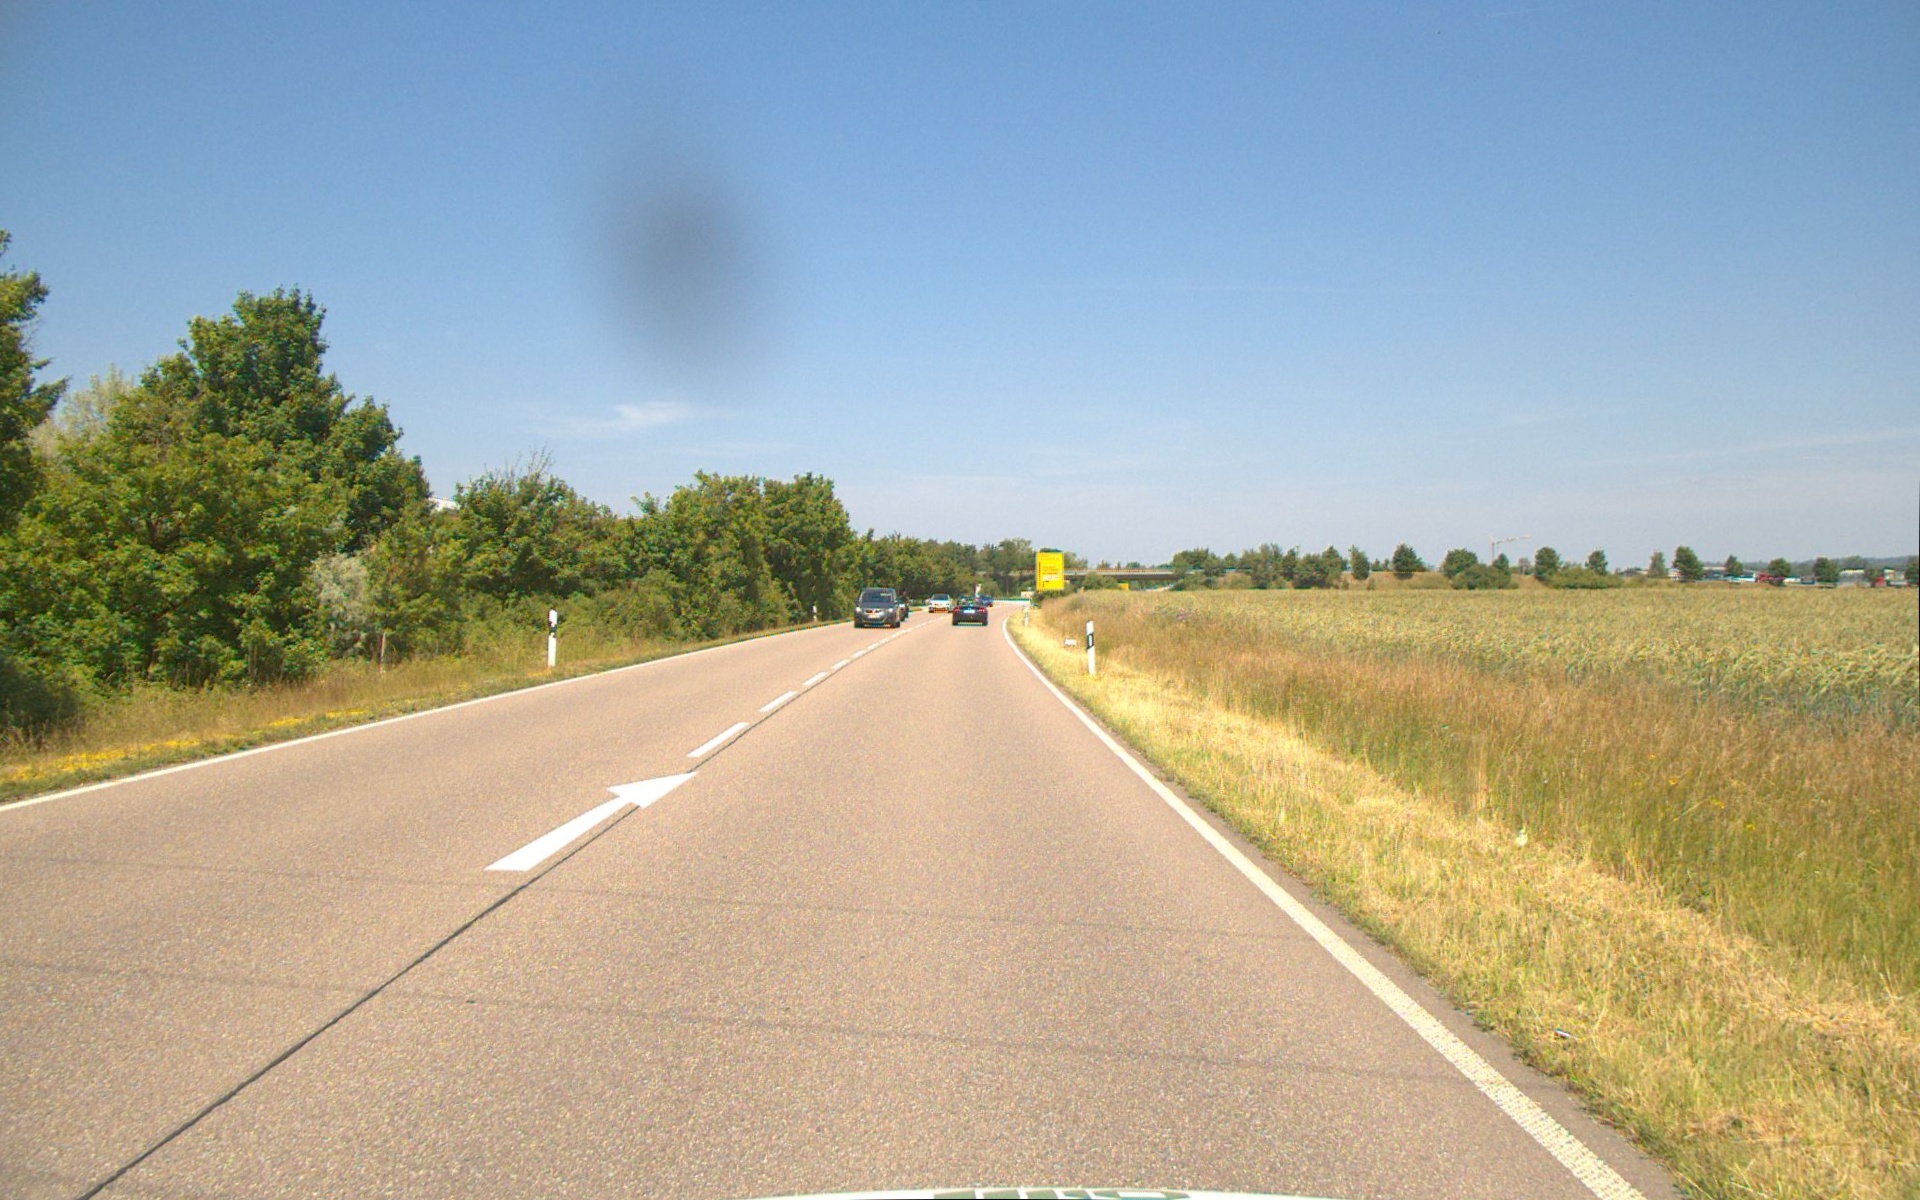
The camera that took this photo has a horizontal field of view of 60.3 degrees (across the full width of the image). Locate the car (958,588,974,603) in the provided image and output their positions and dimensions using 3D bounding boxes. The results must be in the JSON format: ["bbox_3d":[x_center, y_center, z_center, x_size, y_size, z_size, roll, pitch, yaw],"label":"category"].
[{"bbox_3d":[0.638,-0.433,168.543,1.564,1.467,4.001,1,0,1],"label":"car"}]

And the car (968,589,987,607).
[{"bbox_3d":[2.005,-0.238,190.330,1.952,2.049,4.001,1,0,3],"label":"car"}]

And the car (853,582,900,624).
[{"bbox_3d":[-3.634,0.111,72.418,1.781,1.731,5.001,0,0,0],"label":"car"}]

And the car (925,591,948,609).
[{"bbox_3d":[-1.802,-0.002,130.076,1.672,1.405,3.820,1,0,1],"label":"car"}]

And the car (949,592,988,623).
[{"bbox_3d":[0.437,0.354,81.867,1.776,1.466,4.001,1,0,2],"label":"car"}]

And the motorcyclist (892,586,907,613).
[{"bbox_3d":[-3.304,-0.030,90.565,0.818,1.500,1.817,0,0,-1],"label":"motorcyclist"}]

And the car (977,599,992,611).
[{"bbox_3d":[2.836,0.569,191.403,1.474,1.352,3.403,1,0,4],"label":"car"}]

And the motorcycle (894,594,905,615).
[{"bbox_3d":[-3.318,0.255,90.672,0.604,1.128,2.022,0,0,-2],"label":"motorcycle"}]
